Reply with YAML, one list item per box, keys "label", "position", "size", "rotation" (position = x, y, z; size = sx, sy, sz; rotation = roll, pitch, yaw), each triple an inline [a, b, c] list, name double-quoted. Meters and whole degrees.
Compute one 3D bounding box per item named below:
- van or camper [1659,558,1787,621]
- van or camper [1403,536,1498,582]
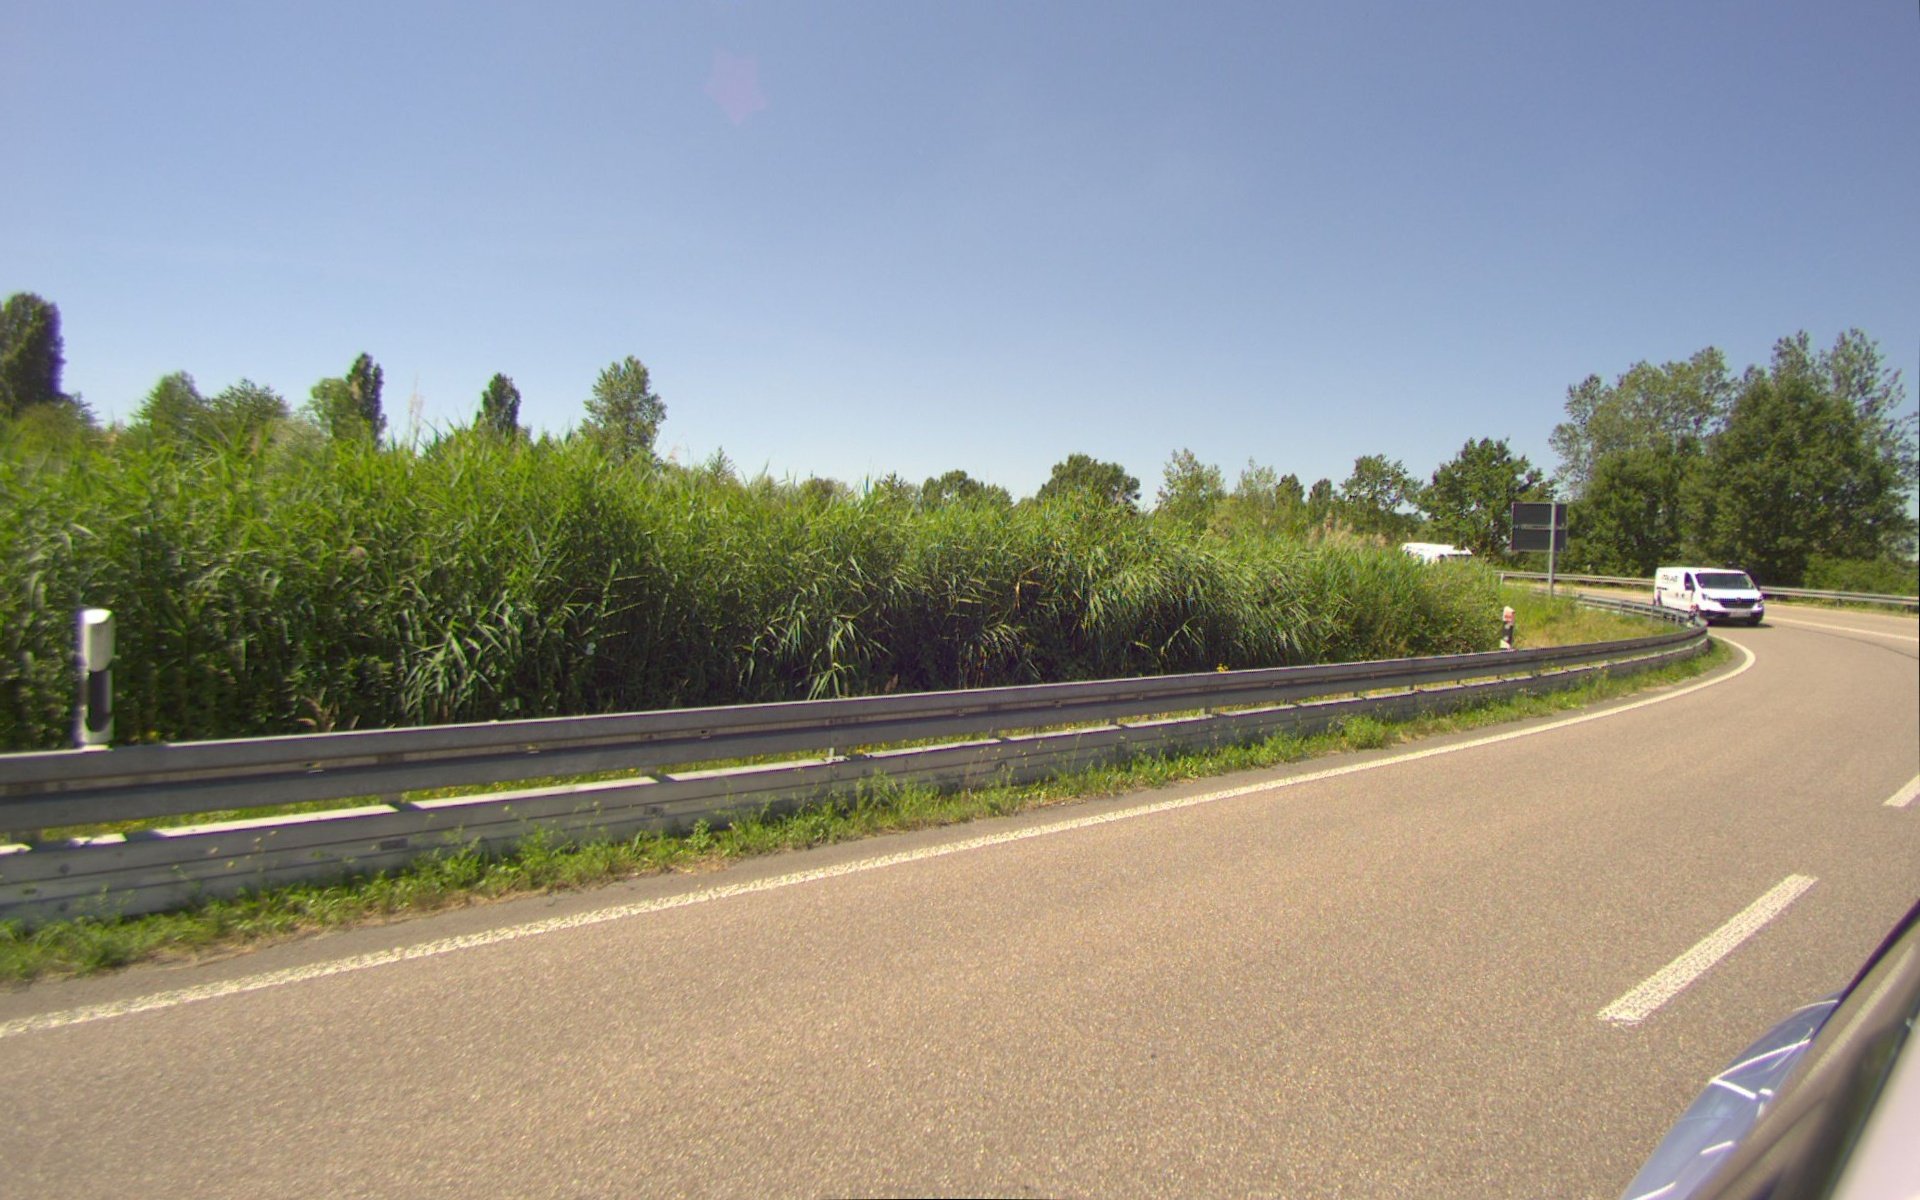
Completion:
- label: "van or camper"
  position: [27.797, -0.474, 37.124]
  size: [1.983, 2.056, 5.421]
  rotation: [0, 3, 17]
- label: "van or camper"
  position: [29.704, -2.537, 61.545]
  size: [2.032, 2.585, 6.060]
  rotation: [-2, 3, -9]
